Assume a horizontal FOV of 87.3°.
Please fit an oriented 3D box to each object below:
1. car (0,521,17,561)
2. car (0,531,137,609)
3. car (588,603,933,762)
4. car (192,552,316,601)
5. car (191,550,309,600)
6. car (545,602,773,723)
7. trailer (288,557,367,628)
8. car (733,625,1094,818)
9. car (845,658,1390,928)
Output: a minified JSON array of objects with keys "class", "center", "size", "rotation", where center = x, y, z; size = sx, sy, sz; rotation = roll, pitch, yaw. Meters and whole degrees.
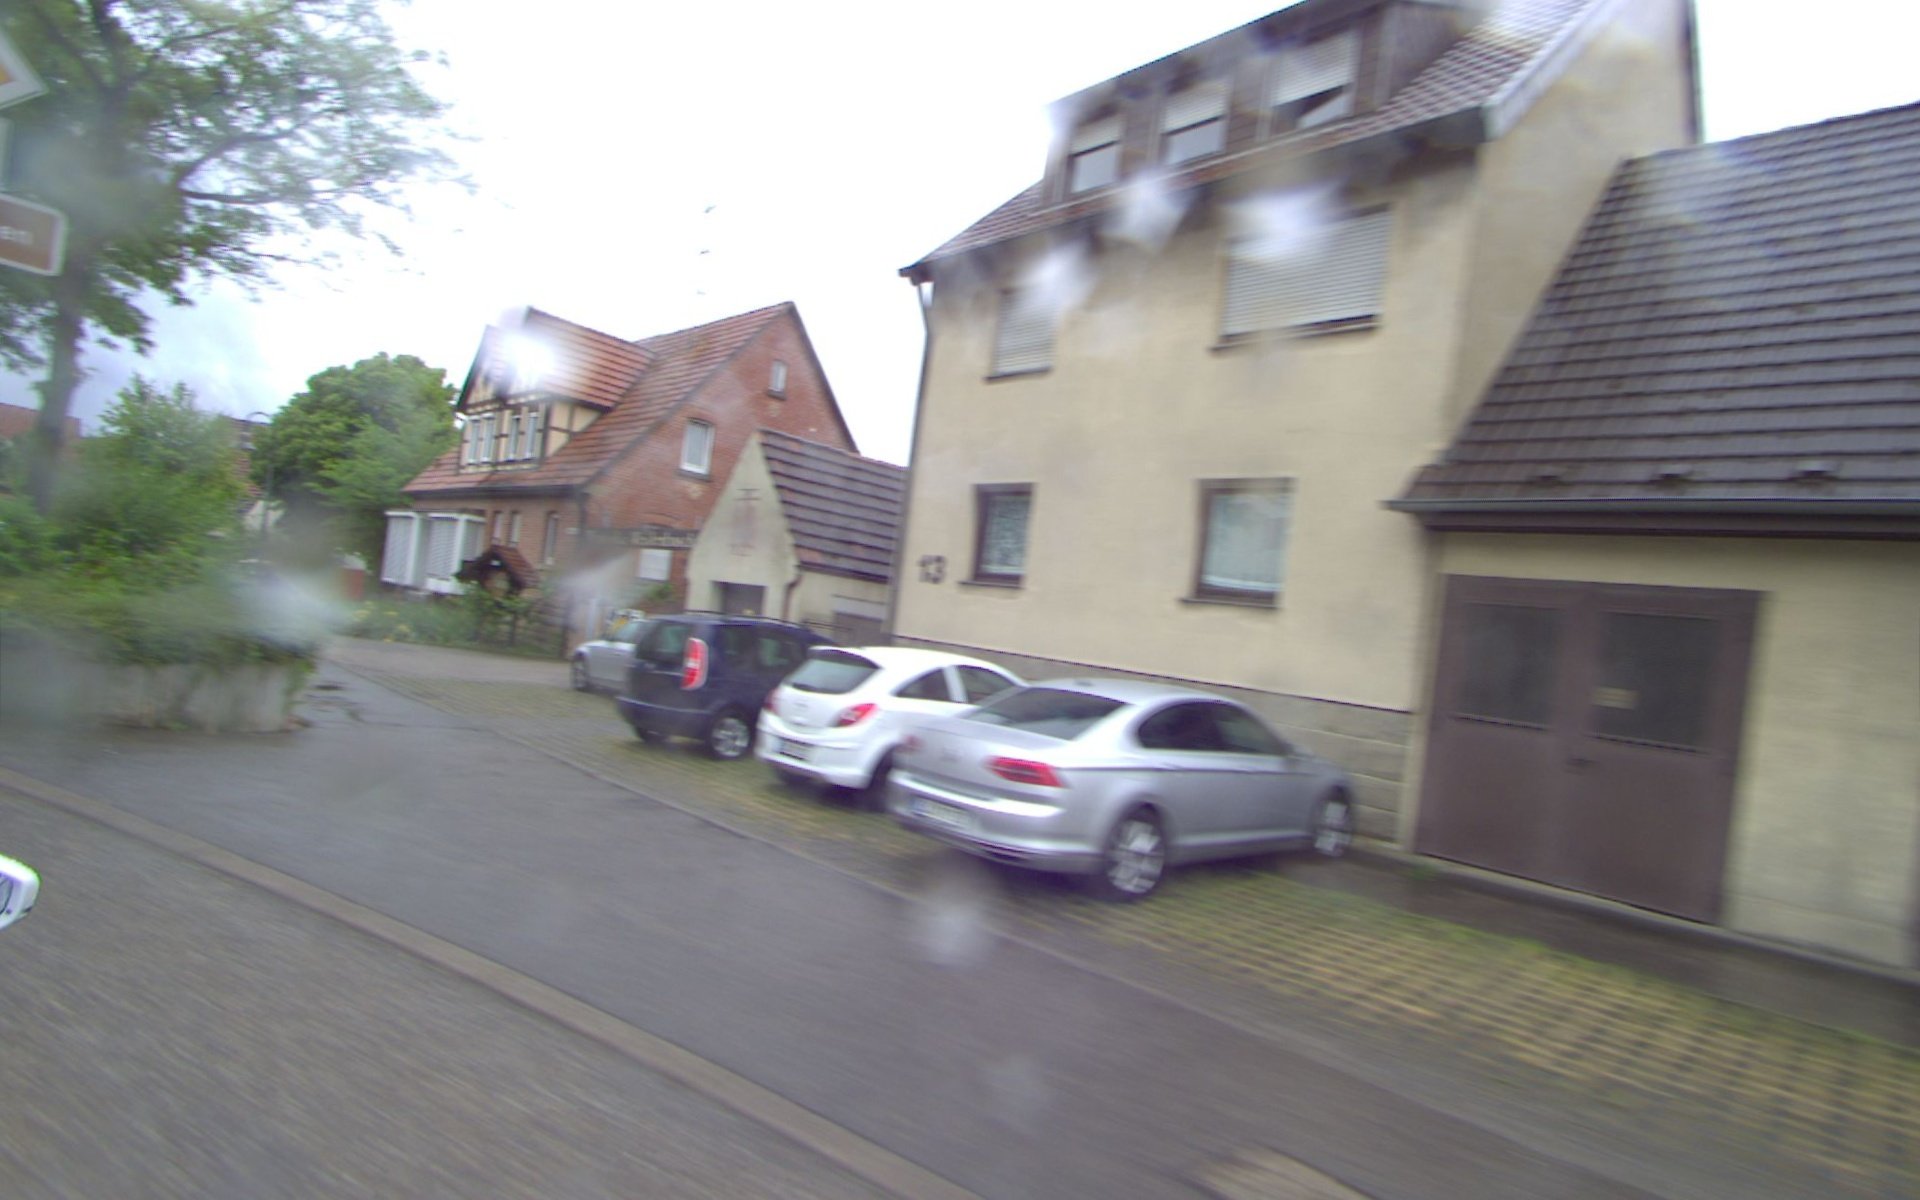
[{"class":"car","center":[-38.256,-2.458,38.611],"size":[1.738,1.552,4.125],"rotation":[9,-4,-26]},{"class":"car","center":[-21.382,-0.795,22.860],"size":[3.671,1.405,1.623],"rotation":[9,-3,-8]},{"class":"car","center":[-2.358,1.066,12.746],"size":[1.724,1.601,3.983],"rotation":[4,-2,40]},{"class":"car","center":[-34.159,-1.083,48.839],"size":[4.430,1.568,1.990],"rotation":[11,-4,-24]},{"class":"car","center":[-32.817,-1.133,46.644],"size":[3.952,1.568,1.990],"rotation":[11,-4,-23]},{"class":"car","center":[-5.177,1.003,16.960],"size":[1.897,1.455,4.214],"rotation":[9,-2,-43]},{"class":"trailer","center":[-17.691,-0.238,28.095],"size":[1.403,1.666,2.697],"rotation":[11,-4,-38]},{"class":"car","center":[-0.378,1.182,10.465],"size":[3.409,1.548,1.698],"rotation":[6,-1,-45]},{"class":"car","center":[1.514,1.390,8.196],"size":[4.595,1.432,1.800],"rotation":[7,-1,-42]}]
